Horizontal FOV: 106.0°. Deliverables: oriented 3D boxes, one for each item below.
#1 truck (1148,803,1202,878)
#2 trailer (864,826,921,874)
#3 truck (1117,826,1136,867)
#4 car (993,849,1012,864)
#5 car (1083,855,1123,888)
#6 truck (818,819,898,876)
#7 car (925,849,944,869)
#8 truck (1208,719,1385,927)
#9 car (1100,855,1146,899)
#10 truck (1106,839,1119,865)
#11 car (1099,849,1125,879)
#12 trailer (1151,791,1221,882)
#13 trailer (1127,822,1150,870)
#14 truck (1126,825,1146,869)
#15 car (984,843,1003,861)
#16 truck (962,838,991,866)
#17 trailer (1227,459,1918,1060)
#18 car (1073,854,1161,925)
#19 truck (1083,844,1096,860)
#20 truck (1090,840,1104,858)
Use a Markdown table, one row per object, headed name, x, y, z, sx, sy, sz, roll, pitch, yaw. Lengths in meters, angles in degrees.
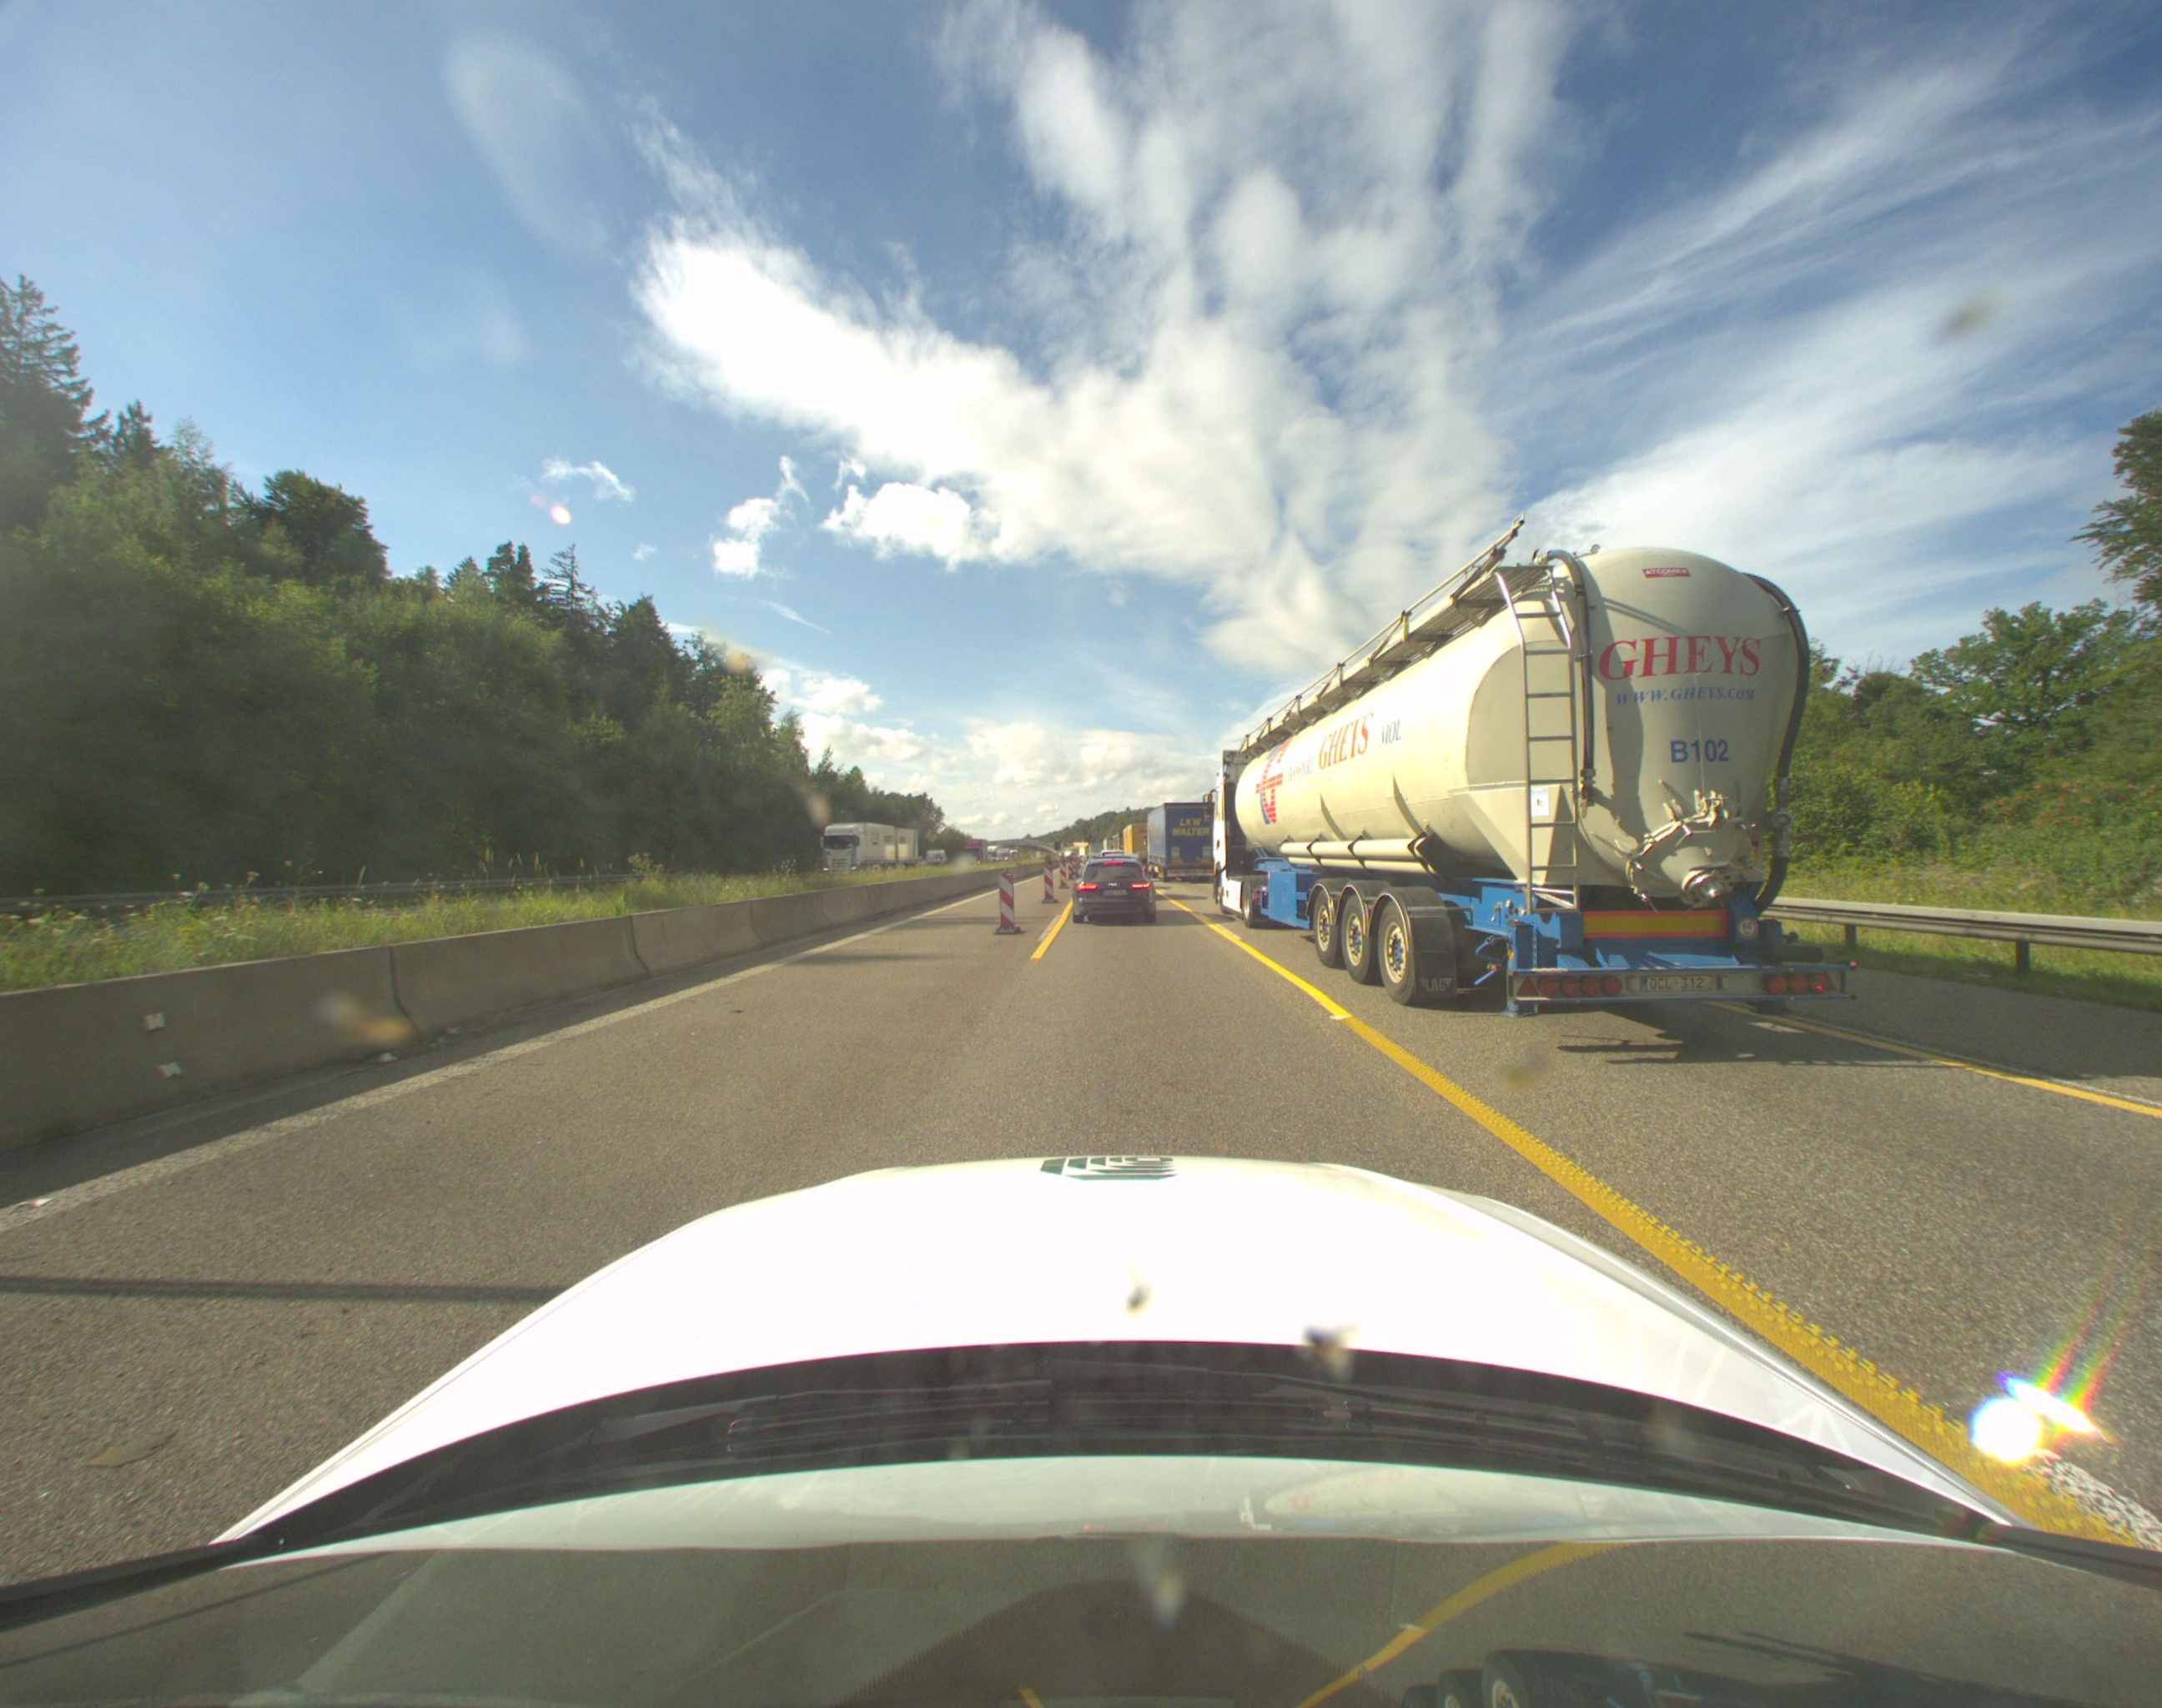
| name | x | y | z | sx | sy | sz | roll | pitch | yaw |
| --- | --- | --- | --- | --- | --- | --- | --- | --- | --- |
| truck | 5.821 | -0.755 | 51.589 | 2.795 | 4.370 | 7.794 | 0 | -1 | 2 |
| trailer | -16.439 | -0.289 | 71.684 | 2.780 | 3.923 | 8.491 | 0 | -1 | 1 |
| truck | 5.684 | -0.852 | 102.310 | 1.987 | 4.914 | 9.561 | 0 | -1 | 1 |
| car | -12.734 | 0.420 | 132.111 | 2.152 | 2.451 | 6.334 | -1 | 0 | 2 |
| car | 1.005 | 0.780 | 36.926 | 1.745 | 1.397 | 3.609 | 0 | -1 | 2 |
| truck | -16.697 | -0.392 | 61.961 | 2.772 | 3.985 | 10.865 | 0 | -1 | 2 |
| car | -20.185 | 0.700 | 112.437 | 2.247 | 2.643 | 5.010 | 0 | -1 | -5 |
| truck | 4.581 | -0.566 | 18.516 | 2.649 | 3.972 | 5.781 | 0 | -1 | 2 |
| car | 1.435 | 0.768 | 28.394 | 1.518 | 1.439 | 3.286 | 0 | -1 | 2 |
| truck | 5.146 | -0.325 | 134.905 | 2.130 | 4.257 | 7.073 | 0 | -1 | 2 |
| car | 1.951 | 0.608 | 51.765 | 1.575 | 1.837 | 3.113 | 0 | -1 | 2 |
| trailer | 5.597 | -0.799 | 45.066 | 2.795 | 4.413 | 10.436 | 0 | -1 | 2 |
| trailer | 4.917 | -0.646 | 70.192 | 1.611 | 3.918 | 6.490 | 0 | -1 | 1 |
| truck | 4.993 | -0.637 | 74.305 | 1.604 | 3.897 | 4.073 | 0 | -1 | 1 |
| car | -16.208 | -0.329 | 151.451 | 2.478 | 3.370 | 7.454 | 0 | -1 | 1 |
| truck | -15.855 | -0.316 | 124.010 | 2.790 | 3.992 | 10.190 | -1 | 0 | 2 |
| trailer | 4.355 | -0.606 | 11.664 | 2.634 | 3.943 | 12.602 | 0 | 0 | 2 |
| car | 0.825 | 0.760 | 19.120 | 1.842 | 1.463 | 4.002 | -1 | -1 | 2 |
| truck | 2.238 | -0.539 | 228.527 | 3.295 | 4.175 | 9.697 | -1 | 0 | -1 |
| truck | 3.813 | -1.207 | 198.244 | 3.293 | 4.175 | 9.700 | -1 | 0 | 0 |
